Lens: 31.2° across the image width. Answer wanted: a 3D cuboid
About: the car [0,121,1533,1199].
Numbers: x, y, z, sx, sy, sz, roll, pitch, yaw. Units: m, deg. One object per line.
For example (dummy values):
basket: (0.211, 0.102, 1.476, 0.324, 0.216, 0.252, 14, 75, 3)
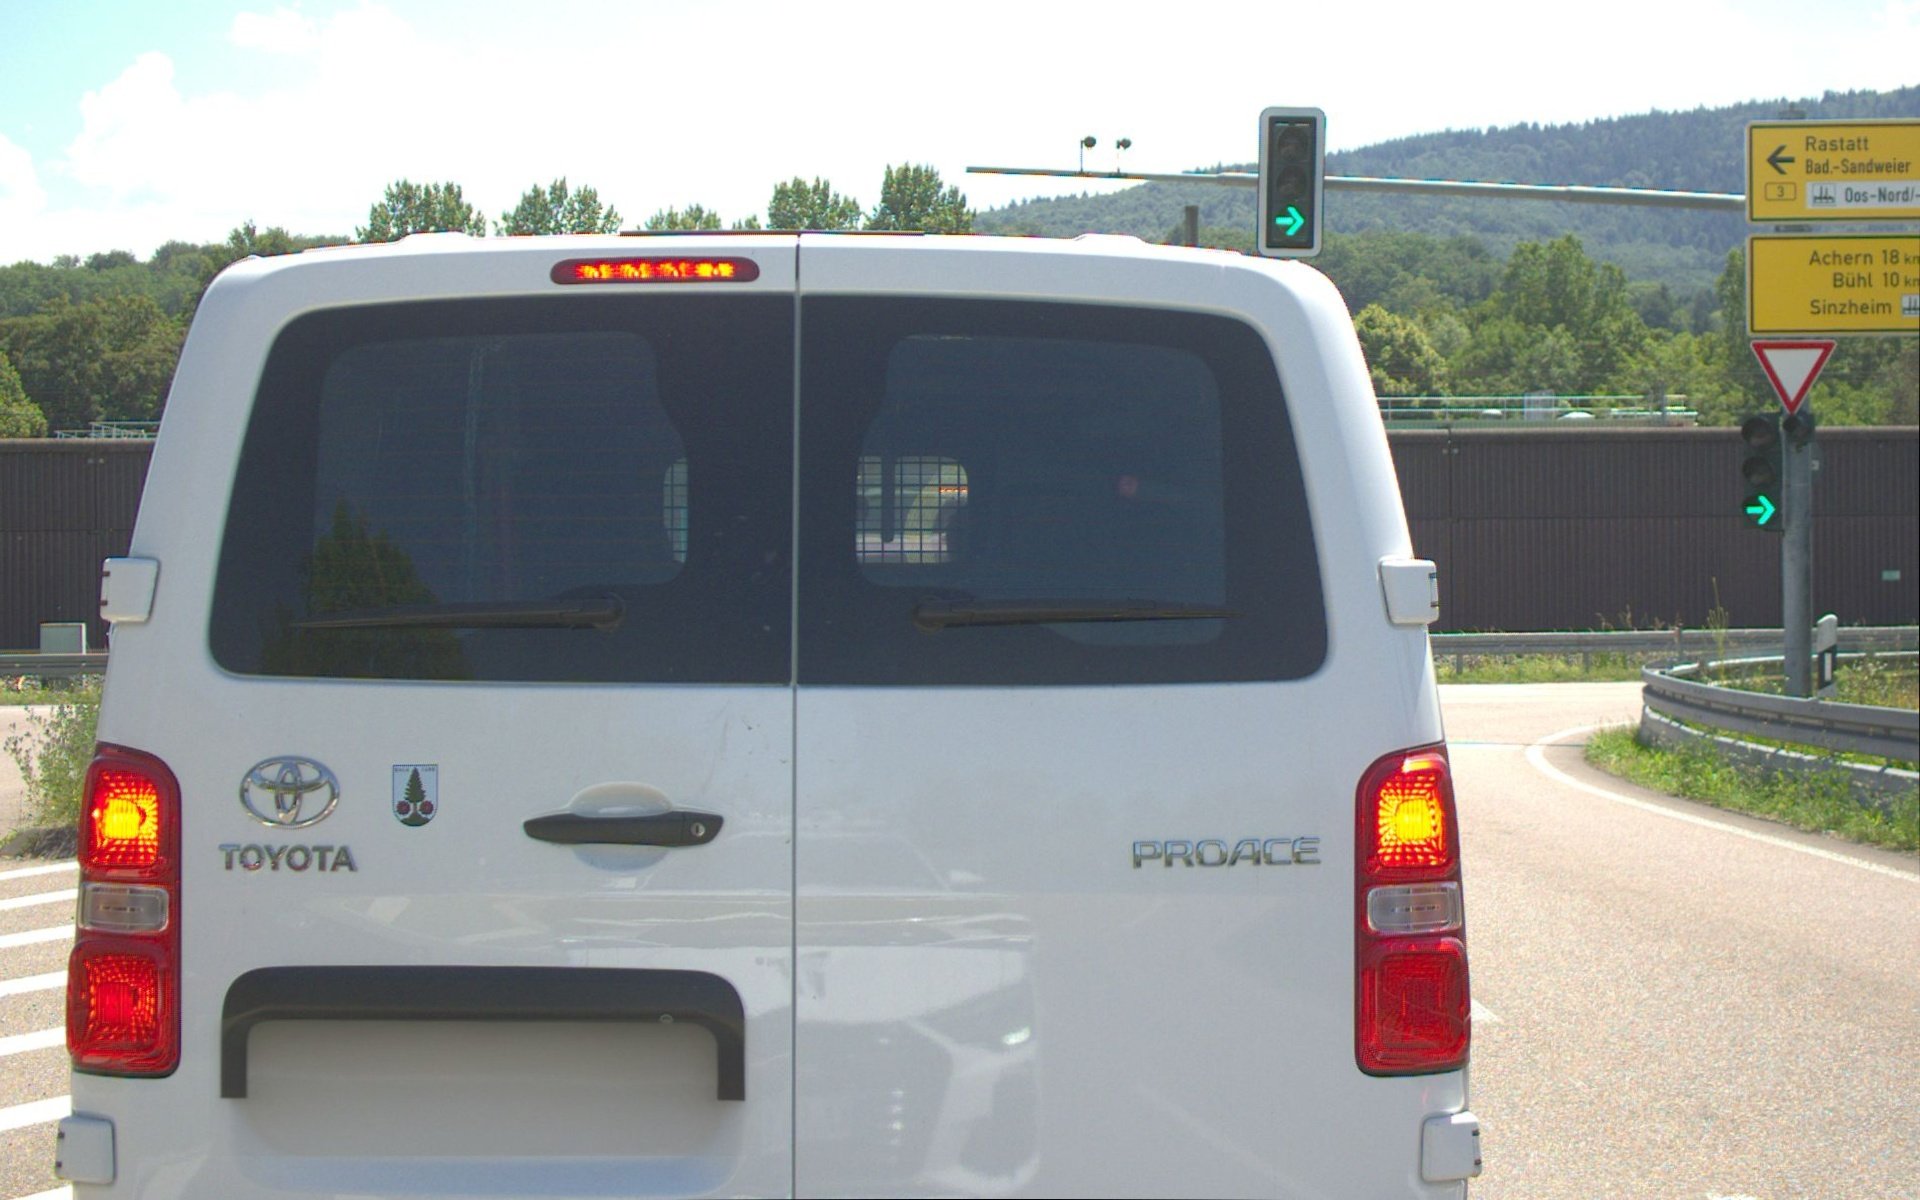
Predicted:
car: (-0.268, 0.433, 5.994, 1.814, 2.011, 4.000, 0, 1, -1)
